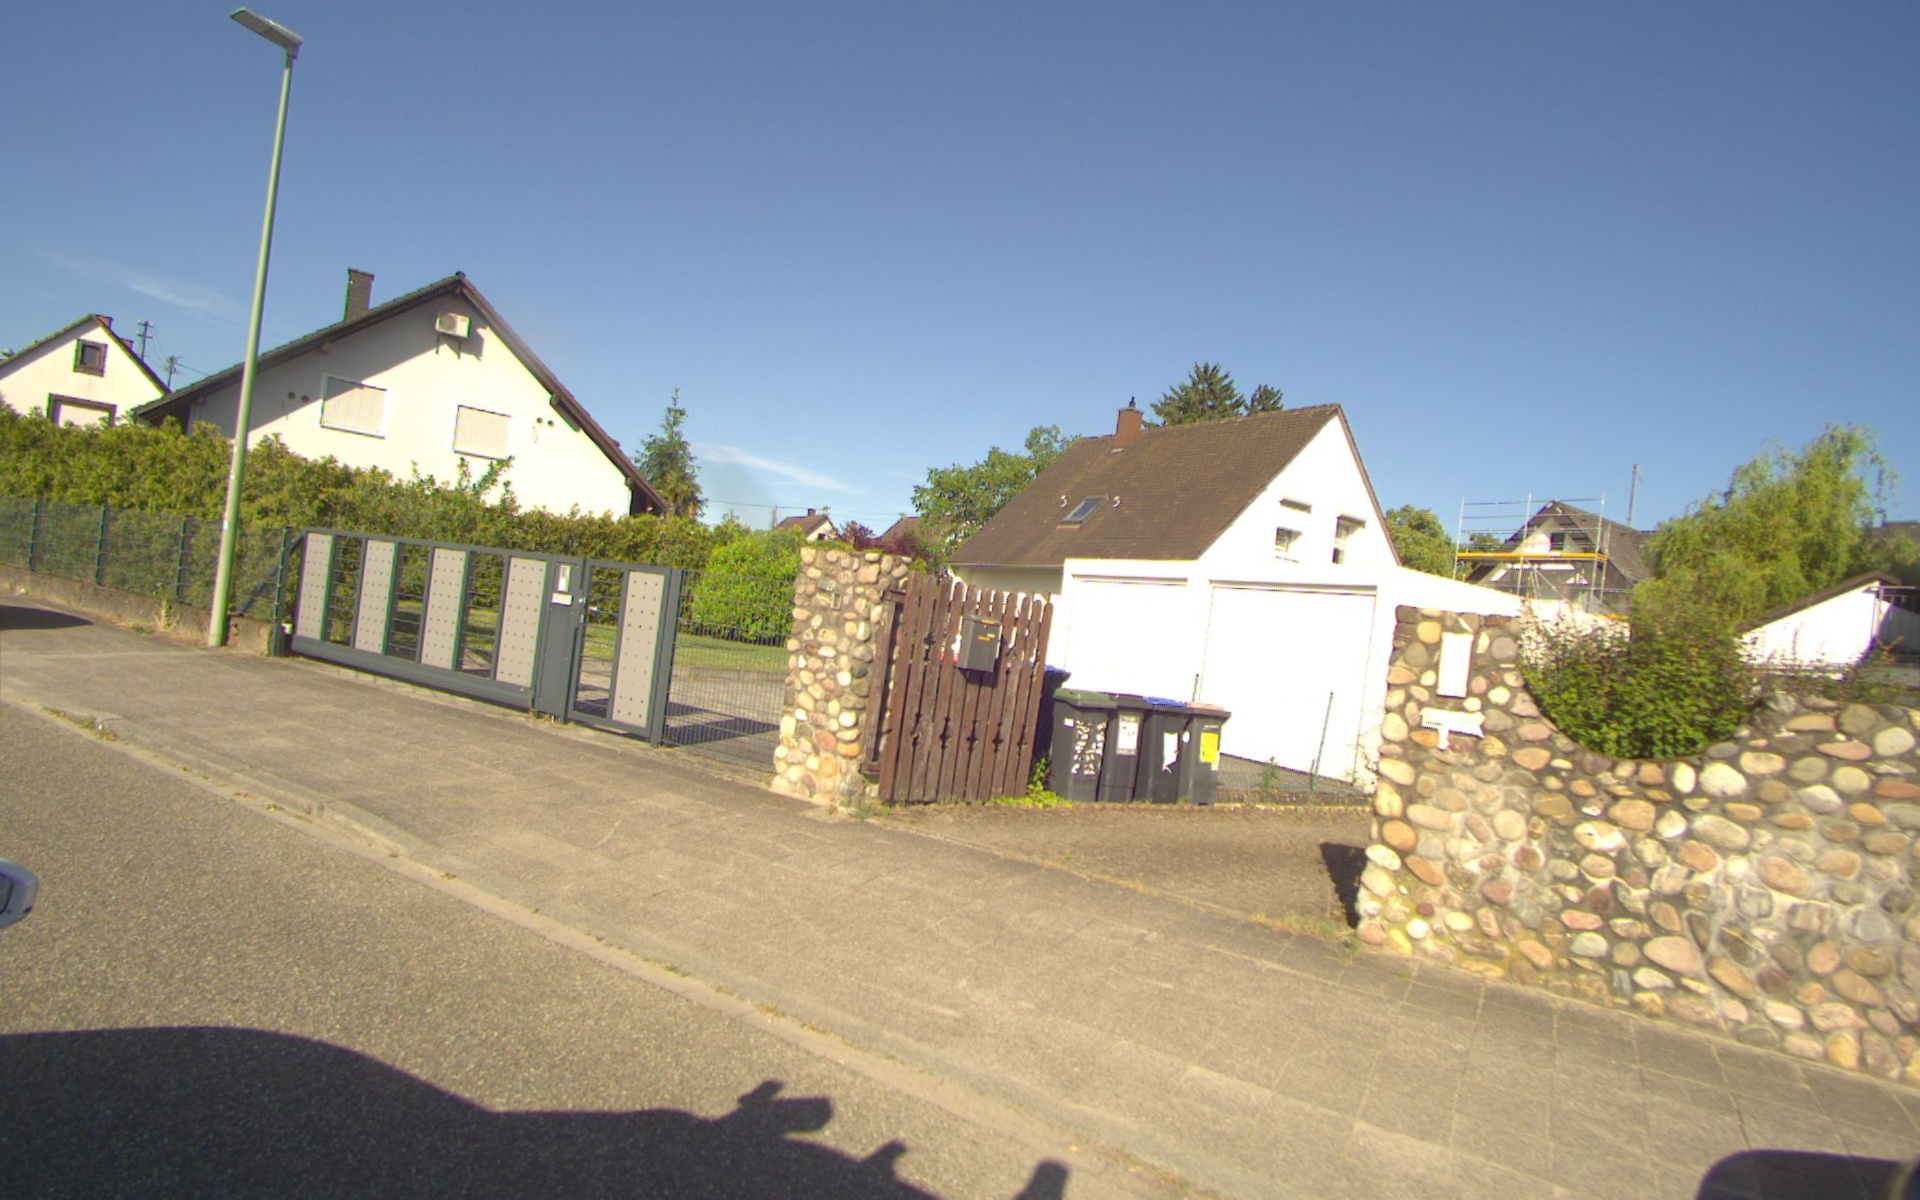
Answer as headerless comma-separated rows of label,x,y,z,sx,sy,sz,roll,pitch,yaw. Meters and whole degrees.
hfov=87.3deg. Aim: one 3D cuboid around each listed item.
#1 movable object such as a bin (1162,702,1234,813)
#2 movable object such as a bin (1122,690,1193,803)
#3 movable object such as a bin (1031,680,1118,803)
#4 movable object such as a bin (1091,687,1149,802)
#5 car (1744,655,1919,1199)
movable object such as a bin,2.154,1.423,9.094,0.458,0.936,0.289,7,0,-31
movable object such as a bin,1.736,1.288,8.843,0.433,0.936,0.289,7,0,-31
movable object such as a bin,0.961,1.190,8.513,0.369,0.936,0.549,7,0,-31
movable object such as a bin,1.374,1.241,8.634,0.341,0.936,0.203,7,0,-31
car,3.488,1.154,0.814,4.233,1.678,1.779,7,-2,33
